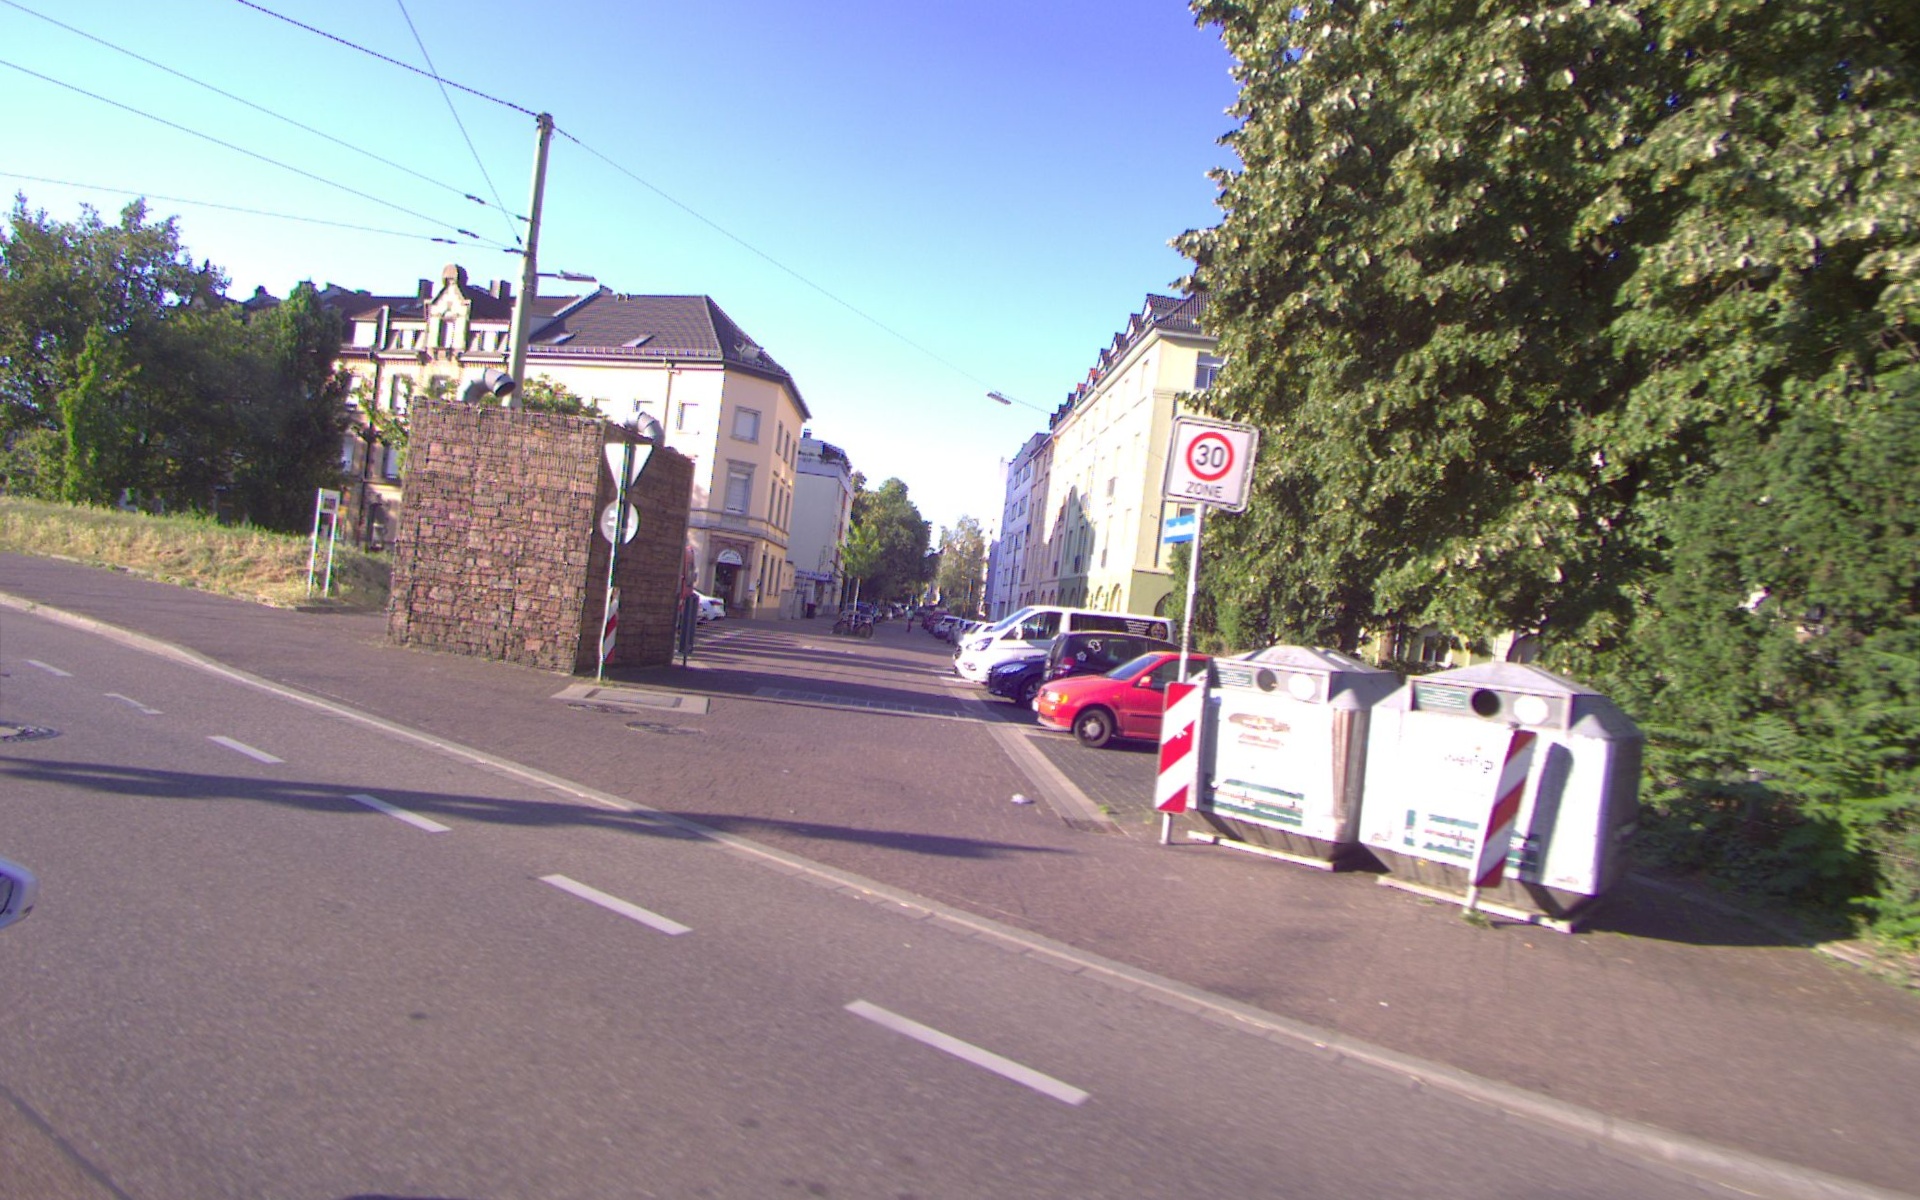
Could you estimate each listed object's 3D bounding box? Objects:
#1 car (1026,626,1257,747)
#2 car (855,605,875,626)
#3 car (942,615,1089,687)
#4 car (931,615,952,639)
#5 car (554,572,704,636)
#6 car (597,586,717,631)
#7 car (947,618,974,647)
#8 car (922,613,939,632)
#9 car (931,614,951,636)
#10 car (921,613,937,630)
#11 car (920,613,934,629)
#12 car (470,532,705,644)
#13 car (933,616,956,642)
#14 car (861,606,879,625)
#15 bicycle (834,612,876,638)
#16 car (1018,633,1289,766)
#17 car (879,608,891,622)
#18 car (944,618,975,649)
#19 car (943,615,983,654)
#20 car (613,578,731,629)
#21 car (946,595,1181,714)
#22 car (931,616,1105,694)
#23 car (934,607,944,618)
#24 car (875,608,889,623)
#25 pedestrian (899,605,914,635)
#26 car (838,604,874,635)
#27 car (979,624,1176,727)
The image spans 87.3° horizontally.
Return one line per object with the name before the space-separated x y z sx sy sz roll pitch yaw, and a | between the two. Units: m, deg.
car | 2.992 1.422 16.996 3.384 1.555 1.630 7 -1 -5
car | -7.721 1.264 82.060 1.292 1.533 2.688 7 -1 -3
car | 1.572 1.461 29.213 3.839 1.558 1.924 7 -1 -8
car | -1.370 1.957 73.037 1.292 1.533 2.863 7 -1 -3
car | -9.761 0.116 29.924 3.821 1.390 1.777 7 0 -6
car | -10.433 0.286 34.846 3.641 1.103 1.704 7 0 -6
car | 0.021 1.885 58.842 1.292 1.533 3.009 7 -1 -3
car | -2.707 2.035 91.526 1.292 1.533 2.688 7 -1 -3
car | -1.514 1.938 79.099 1.292 1.533 2.863 7 -1 -3
car | -2.946 2.028 95.332 1.292 1.533 2.688 7 -1 -3
car | -3.556 2.278 109.191 1.292 1.533 2.688 7 -1 -3
car | -9.796 -0.305 26.856 5.320 2.241 2.041 7 0 -6
car | -1.050 1.911 66.604 1.292 1.533 2.863 7 -1 -3
car | -7.870 1.359 87.994 1.292 1.533 2.688 7 -1 -3
bicycle | -4.734 1.138 45.419 1.796 0.981 0.490 7 0 -4
car | 2.686 1.385 14.426 3.384 1.374 1.629 7 0 -5
car | -8.989 1.841 120.581 1.292 1.533 2.688 7 -1 -3
car | -0.052 1.753 53.120 1.292 1.436 3.629 7 -1 -3
car | 0.107 1.571 47.017 1.504 1.548 3.643 7 -1 -3
car | -10.617 0.141 37.308 3.821 1.390 1.777 7 0 -6
car | 2.204 1.167 22.169 4.667 2.003 1.924 7 0 -8
car | 1.476 1.406 26.264 4.152 1.484 1.749 7 -1 -8
car | -3.135 1.892 152.673 1.292 1.533 2.688 6 -1 -3
car | -8.446 1.689 108.988 1.292 1.533 2.688 7 -1 -3
pedestrian | -3.811 1.405 72.023 0.832 2.038 1.351 6 0 -4
car | -5.338 0.998 52.009 1.528 1.402 3.636 7 -1 -3
car | 2.192 1.423 19.380 3.384 1.476 1.629 7 0 -5
